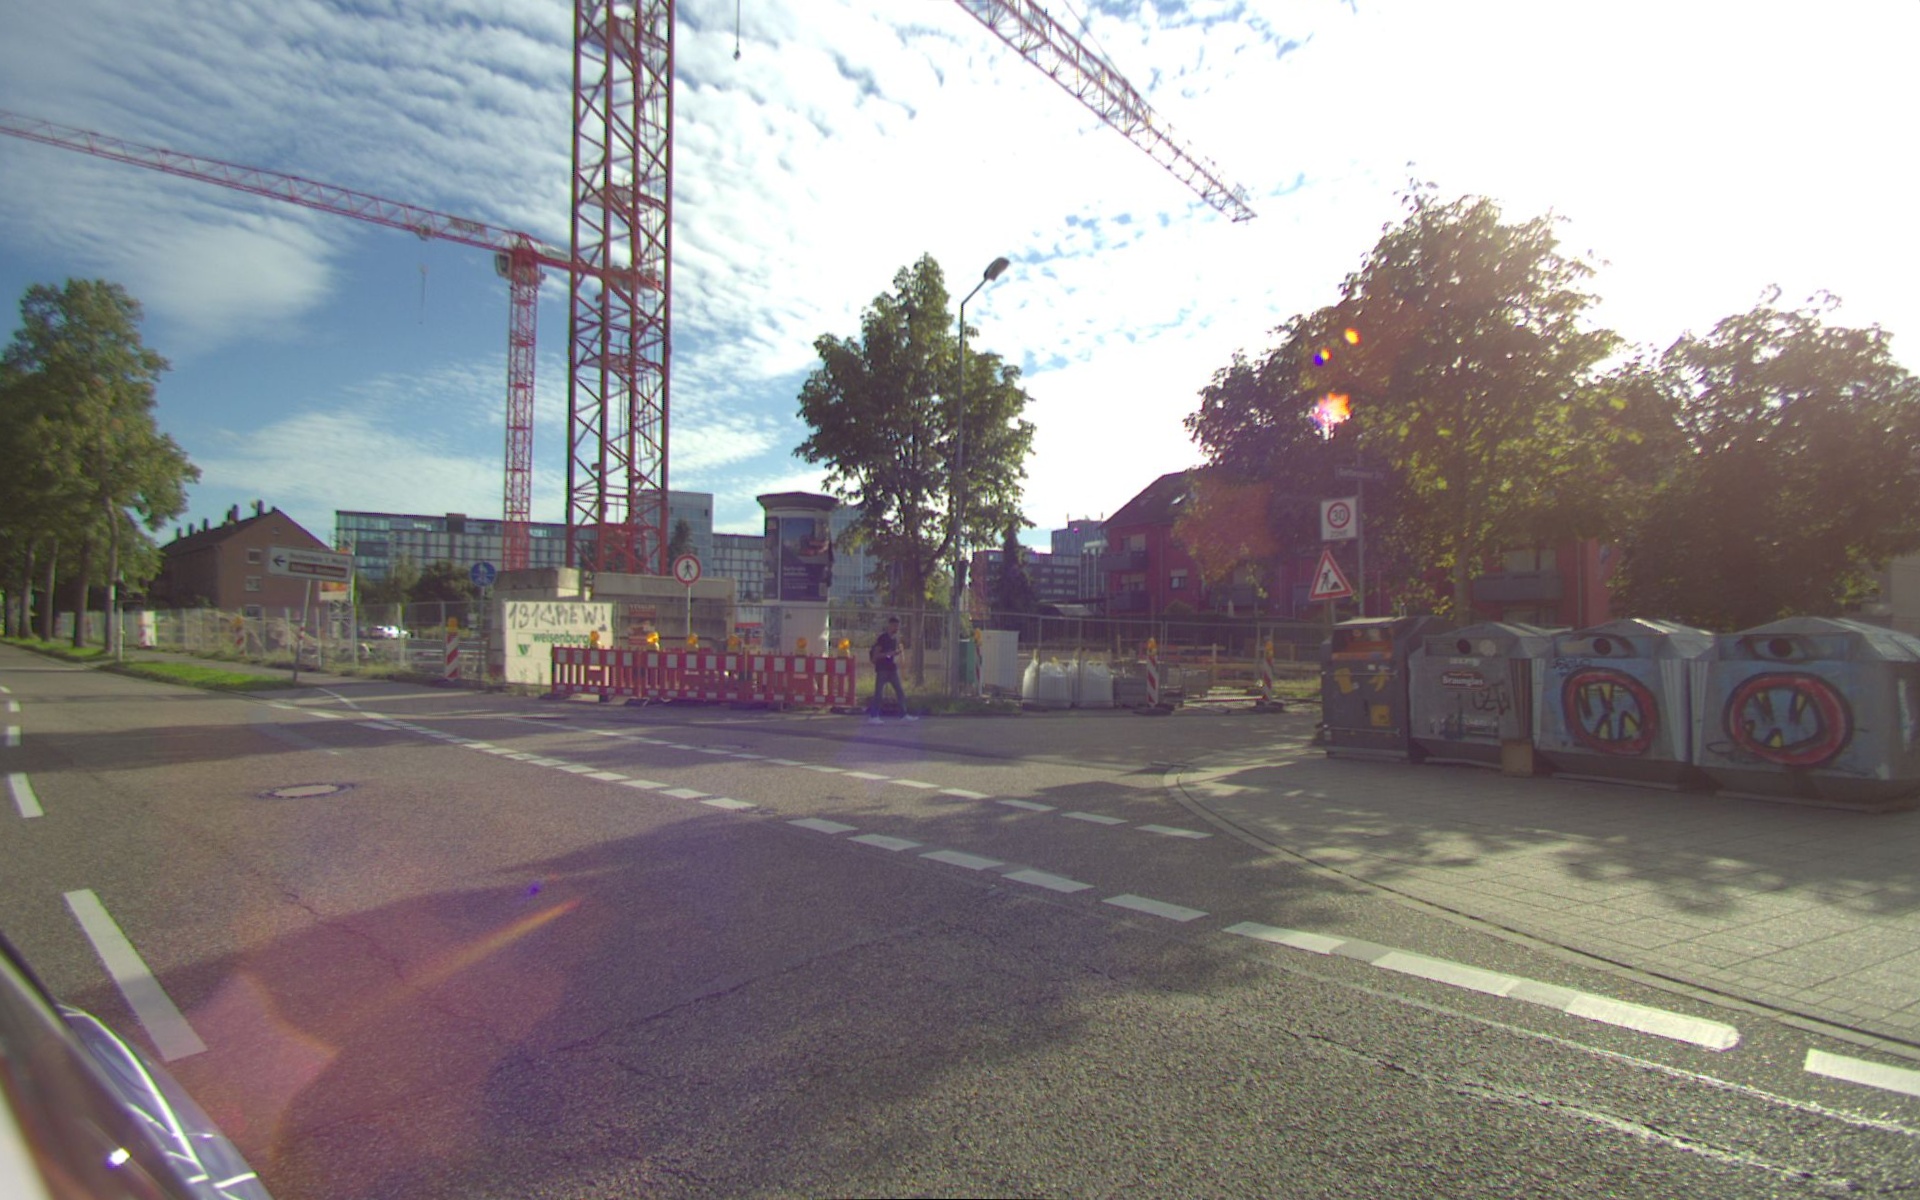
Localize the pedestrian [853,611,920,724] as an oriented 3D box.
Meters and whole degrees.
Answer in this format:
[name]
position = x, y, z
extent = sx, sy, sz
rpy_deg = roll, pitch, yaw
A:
[pedestrian]
position = -1.192, 1.080, 16.506
extent = 0.774, 1.782, 0.734
rpy_deg = -1, -4, 38
